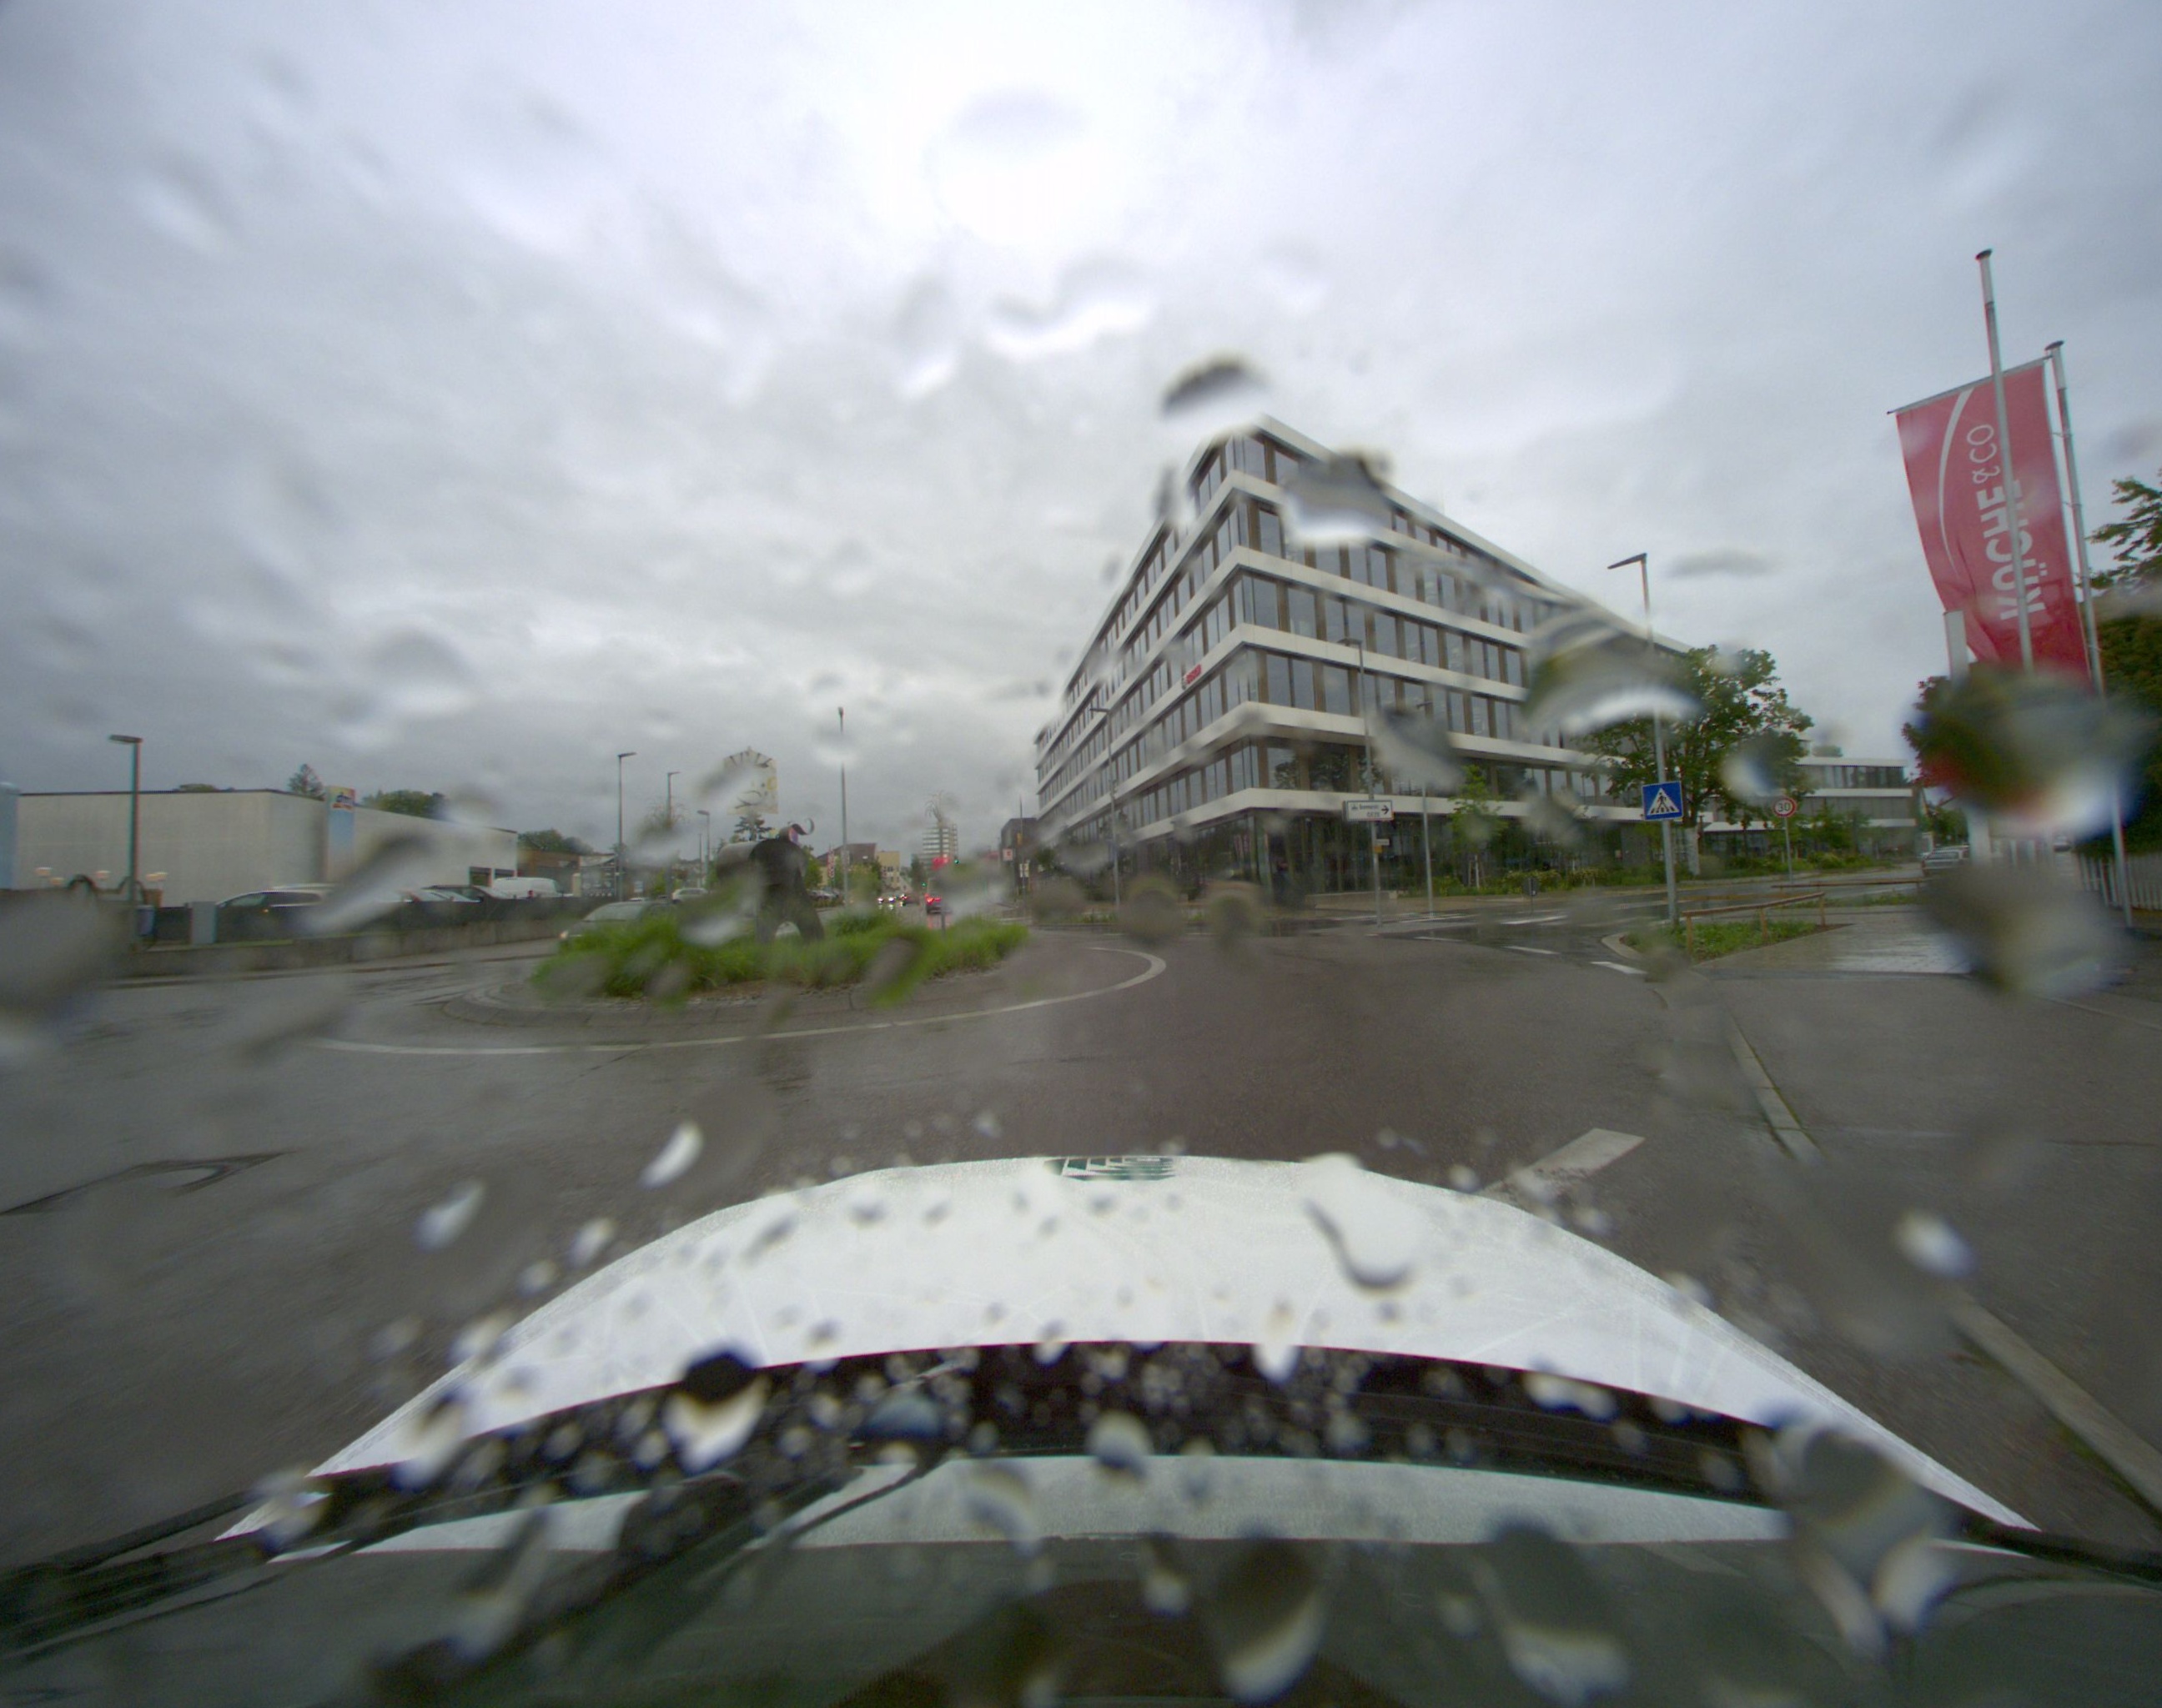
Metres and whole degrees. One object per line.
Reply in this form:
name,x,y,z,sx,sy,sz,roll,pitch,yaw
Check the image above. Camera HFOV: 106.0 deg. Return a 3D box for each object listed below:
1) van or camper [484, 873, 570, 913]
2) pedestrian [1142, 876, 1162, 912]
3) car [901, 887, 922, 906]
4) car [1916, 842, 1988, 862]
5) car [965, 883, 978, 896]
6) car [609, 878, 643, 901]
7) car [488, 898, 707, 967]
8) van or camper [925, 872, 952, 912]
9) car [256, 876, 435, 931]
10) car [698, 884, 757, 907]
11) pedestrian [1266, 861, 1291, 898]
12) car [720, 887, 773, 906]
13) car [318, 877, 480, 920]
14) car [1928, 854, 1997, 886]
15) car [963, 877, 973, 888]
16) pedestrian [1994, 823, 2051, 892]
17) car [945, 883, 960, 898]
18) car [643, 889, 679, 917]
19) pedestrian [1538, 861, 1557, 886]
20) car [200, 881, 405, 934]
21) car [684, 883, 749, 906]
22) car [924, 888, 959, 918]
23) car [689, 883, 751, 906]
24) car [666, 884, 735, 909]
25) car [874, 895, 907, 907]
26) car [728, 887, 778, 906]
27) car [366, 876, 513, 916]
van or camper,-27.971,1.909,41.302,1.881,1.761,4.369,-1,0,-9
pedestrian,4.398,2.475,50.498,1.001,2.146,0.929,-2,-2,-7
car,-18.184,4.517,87.502,1.992,1.860,3.989,1,0,-8
car,75.010,-0.166,70.218,1.905,1.423,3.899,-1,-3,-32
car,-17.252,5.575,128.170,1.992,1.860,3.989,1,0,-8
car,-45.018,3.480,80.627,1.997,2.013,3.980,1,0,-15
car,-12.209,1.924,21.132,1.983,1.383,5.353,-2,-2,7
van or camper,-12.076,3.148,68.669,1.995,3.088,5.080,-2,-1,-12
car,-24.117,1.599,26.862,3.991,1.552,1.786,-2,-2,-13
car,-27.968,3.275,64.514,3.991,1.552,1.786,-2,-2,-13
pedestrian,11.020,1.409,45.441,0.936,2.014,0.883,-1,-3,-38
car,-29.572,3.742,72.105,3.991,1.552,1.786,-2,-2,-13
car,-24.267,1.571,29.125,3.987,1.295,1.882,-2,0,-10
car,44.482,0.798,41.083,4.017,1.555,1.933,1,0,-36
car,-21.580,5.417,155.716,1.992,1.860,3.989,1,0,-8
pedestrian,28.943,0.104,25.034,1.200,2.014,0.852,-1,-6,-36
car,-19.736,5.516,124.932,1.992,2.013,3.990,-3,0,-7
car,-33.926,3.893,65.873,2.000,2.014,3.974,1,0,-19
pedestrian,32.674,1.370,57.044,0.959,1.704,0.719,1,-1,-30
car,-23.075,1.558,24.305,3.987,1.295,1.882,-2,0,-10
car,-26.772,2.964,59.933,3.991,1.552,1.786,-2,-2,-13
car,-9.304,3.226,54.425,1.991,1.728,3.992,-1,0,-6
car,-27.333,3.034,61.839,3.991,1.552,1.786,-2,-2,-13
car,-26.439,2.960,56.713,3.991,1.552,1.843,-2,-2,-13
car,-24.162,5.946,103.458,1.975,1.398,4.024,-3,-2,27
car,-30.019,3.856,74.598,3.991,1.552,1.786,-2,-2,-13
car,-24.595,1.585,31.383,3.987,1.295,1.882,-2,0,-10
